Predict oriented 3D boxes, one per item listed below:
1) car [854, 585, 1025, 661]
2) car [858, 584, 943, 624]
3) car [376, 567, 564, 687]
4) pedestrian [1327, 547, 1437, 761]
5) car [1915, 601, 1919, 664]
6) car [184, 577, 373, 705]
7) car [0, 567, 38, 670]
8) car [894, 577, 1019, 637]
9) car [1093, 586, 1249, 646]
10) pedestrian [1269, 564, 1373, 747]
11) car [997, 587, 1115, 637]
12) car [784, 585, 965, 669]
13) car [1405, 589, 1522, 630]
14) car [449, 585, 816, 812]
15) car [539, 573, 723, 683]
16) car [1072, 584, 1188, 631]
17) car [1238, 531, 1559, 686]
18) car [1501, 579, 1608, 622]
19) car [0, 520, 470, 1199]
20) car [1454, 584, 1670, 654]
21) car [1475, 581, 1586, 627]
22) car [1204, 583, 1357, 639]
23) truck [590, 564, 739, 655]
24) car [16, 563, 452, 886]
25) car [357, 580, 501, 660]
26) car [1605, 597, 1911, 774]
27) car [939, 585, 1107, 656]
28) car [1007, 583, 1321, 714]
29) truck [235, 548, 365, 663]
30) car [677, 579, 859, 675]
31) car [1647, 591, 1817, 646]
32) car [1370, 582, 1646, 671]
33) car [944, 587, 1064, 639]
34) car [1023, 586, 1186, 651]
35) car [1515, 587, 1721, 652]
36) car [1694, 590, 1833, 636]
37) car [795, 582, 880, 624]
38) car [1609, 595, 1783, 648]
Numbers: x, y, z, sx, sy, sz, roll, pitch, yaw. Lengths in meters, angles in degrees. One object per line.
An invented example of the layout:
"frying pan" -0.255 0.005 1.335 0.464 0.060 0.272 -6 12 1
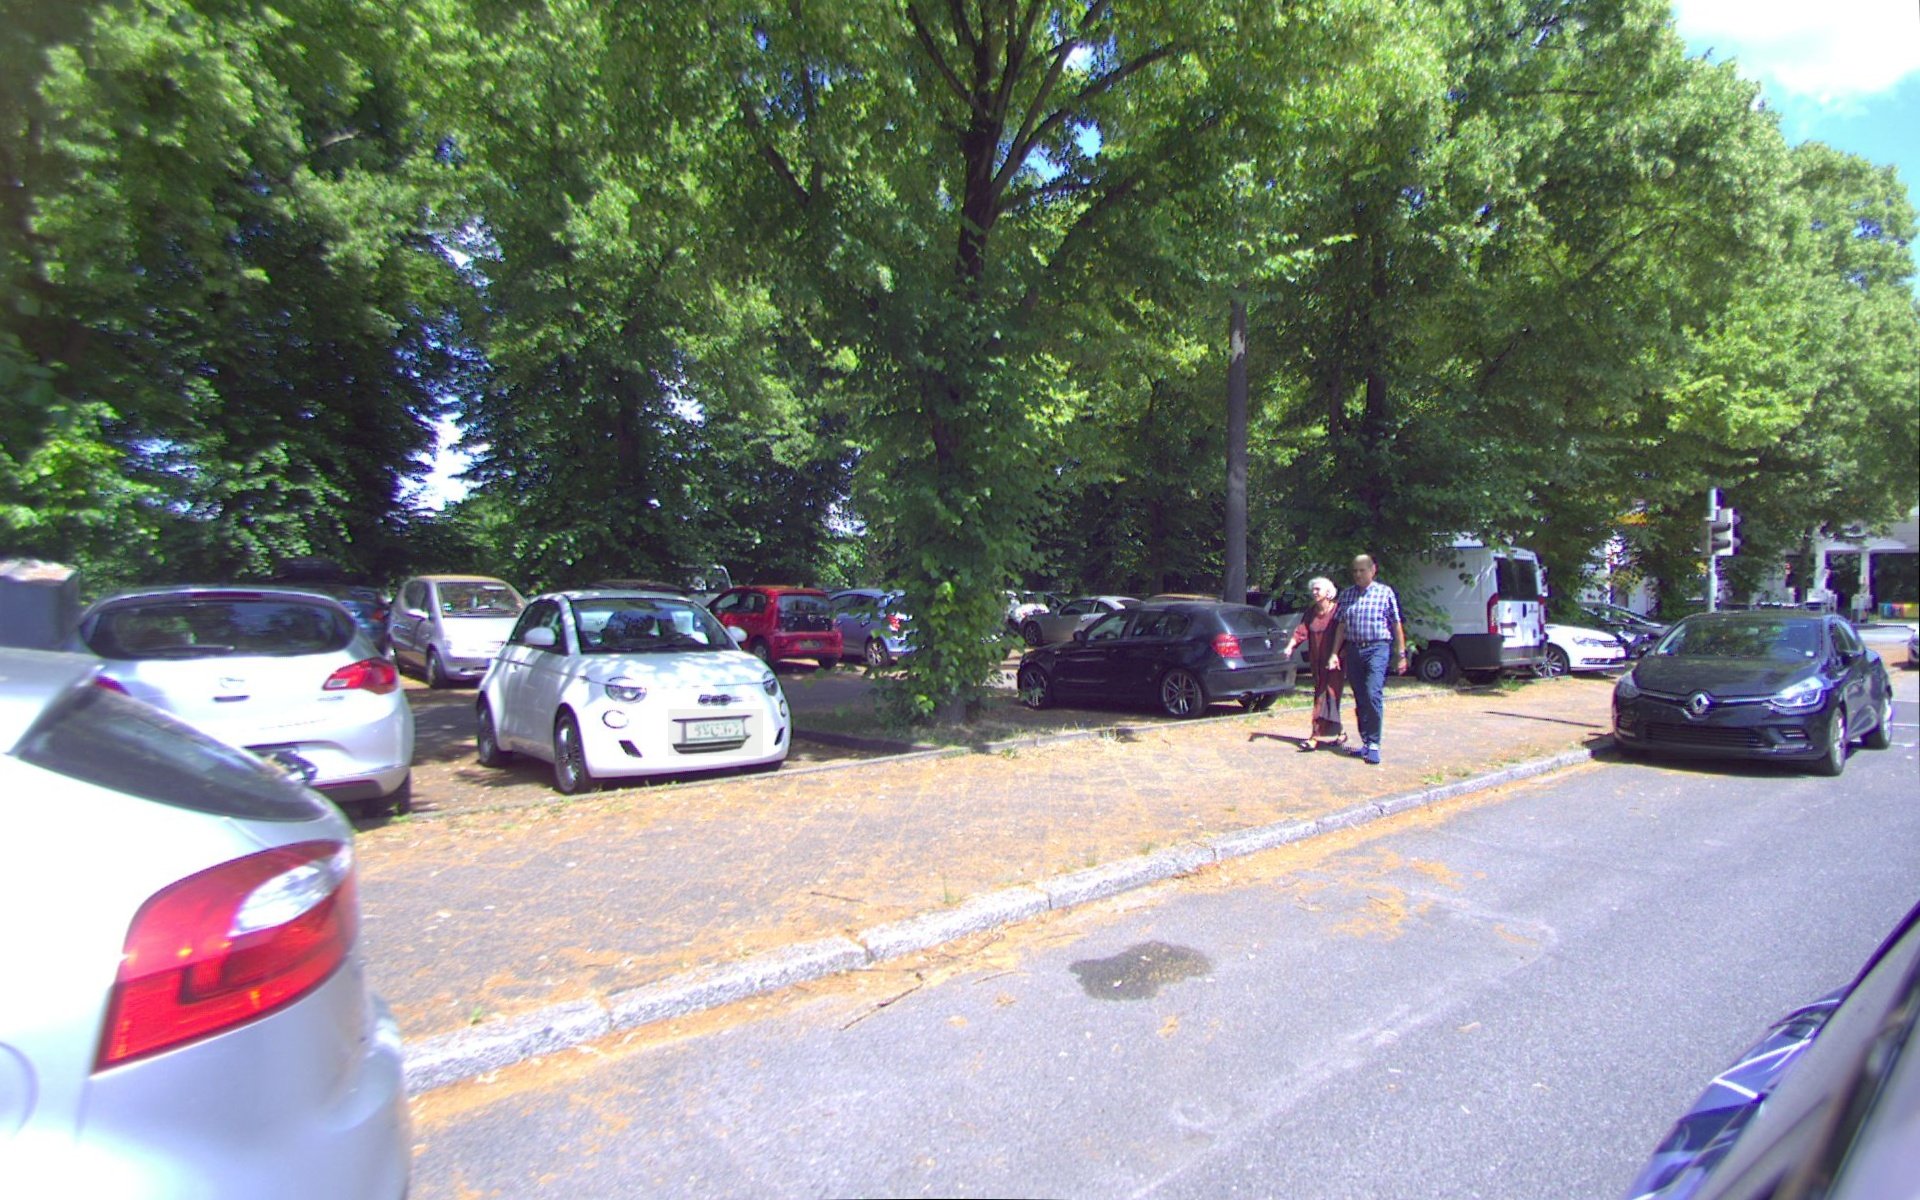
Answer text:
"car" -0.538 0.430 22.594 1.772 1.491 3.997 0 1 -38
"car" -2.503 0.127 41.589 1.705 1.587 3.809 0 1 -36
"car" -7.856 0.330 16.045 1.652 1.661 3.993 0 1 -42
"pedestrian" 3.718 0.447 8.914 0.724 1.787 0.618 0 -1 -41
"car" 24.289 0.739 24.113 4.037 1.461 1.720 0 -1 -39
"car" -9.493 0.440 13.967 1.652 1.502 3.993 0 1 -42
"car" -15.413 0.240 15.588 1.708 1.478 3.804 0 1 -41
"car" -0.159 0.153 29.675 1.706 1.608 3.808 0 1 -38
"car" 5.721 0.370 27.763 1.772 1.491 3.997 0 1 -38
"pedestrian" 3.345 0.490 9.389 0.724 1.613 0.618 0 -1 -41
"car" 3.064 0.334 32.866 1.706 1.511 3.808 0 1 -38
"car" -1.826 0.464 20.538 1.772 1.491 3.997 0 1 -38
"car" 19.872 0.353 40.065 1.709 1.483 3.801 0 1 -44
"car" -2.971 0.611 8.607 1.639 1.446 3.996 0 1 -39
"car" -5.793 0.380 17.519 1.772 1.682 3.997 0 1 -38
"car" 5.807 0.214 34.922 1.706 1.483 3.808 0 1 -38
"car" 7.398 0.185 17.484 2.068 2.305 4.610 0 -2 -40
"car" 30.099 -0.008 51.321 1.824 2.022 4.366 0 1 -44
"car" -2.745 0.676 0.940 3.822 1.504 1.770 0 0 -41
"car" 14.132 0.455 23.932 1.608 1.513 4.073 0 -1 -41
"car" 24.645 0.152 43.782 1.901 1.874 3.801 0 1 -44
"car" 9.939 0.289 31.664 1.787 1.607 4.259 0 1 -41
"truck" -6.713 0.164 22.746 1.844 1.837 4.132 0 1 -38
"car" -4.813 0.564 6.545 1.777 1.416 3.992 0 -1 -42
"car" -10.826 0.336 20.504 1.708 1.478 3.803 0 1 -42
"car" 8.133 0.700 10.196 3.929 1.446 1.666 0 0 -40
"car" 1.399 0.411 23.866 1.772 1.491 3.997 0 1 -38
"car" 2.580 0.593 13.625 1.686 1.492 3.995 0 -1 -38
"truck" -12.383 0.064 18.895 1.706 1.905 3.807 0 1 -38
"car" -3.756 0.419 19.301 1.772 1.606 3.997 0 1 -38
"car" 23.495 0.534 30.938 1.597 1.555 3.773 0 0 -29
"car" 10.436 0.514 19.542 1.777 1.513 4.330 0 -2 -41
"car" 1.304 0.359 31.581 1.706 1.483 3.808 0 1 -38
"car" 3.598 0.404 25.786 1.772 1.491 3.997 0 1 -38
"car" 16.528 0.470 25.584 1.608 1.513 4.073 0 0 -41
"car" 29.043 0.434 36.633 1.823 1.546 3.755 0 1 -43
"car" -4.848 0.079 39.733 1.705 1.587 3.809 0 1 -36
"car" 20.620 0.586 28.431 3.833 1.375 1.605 -1 -1 42
